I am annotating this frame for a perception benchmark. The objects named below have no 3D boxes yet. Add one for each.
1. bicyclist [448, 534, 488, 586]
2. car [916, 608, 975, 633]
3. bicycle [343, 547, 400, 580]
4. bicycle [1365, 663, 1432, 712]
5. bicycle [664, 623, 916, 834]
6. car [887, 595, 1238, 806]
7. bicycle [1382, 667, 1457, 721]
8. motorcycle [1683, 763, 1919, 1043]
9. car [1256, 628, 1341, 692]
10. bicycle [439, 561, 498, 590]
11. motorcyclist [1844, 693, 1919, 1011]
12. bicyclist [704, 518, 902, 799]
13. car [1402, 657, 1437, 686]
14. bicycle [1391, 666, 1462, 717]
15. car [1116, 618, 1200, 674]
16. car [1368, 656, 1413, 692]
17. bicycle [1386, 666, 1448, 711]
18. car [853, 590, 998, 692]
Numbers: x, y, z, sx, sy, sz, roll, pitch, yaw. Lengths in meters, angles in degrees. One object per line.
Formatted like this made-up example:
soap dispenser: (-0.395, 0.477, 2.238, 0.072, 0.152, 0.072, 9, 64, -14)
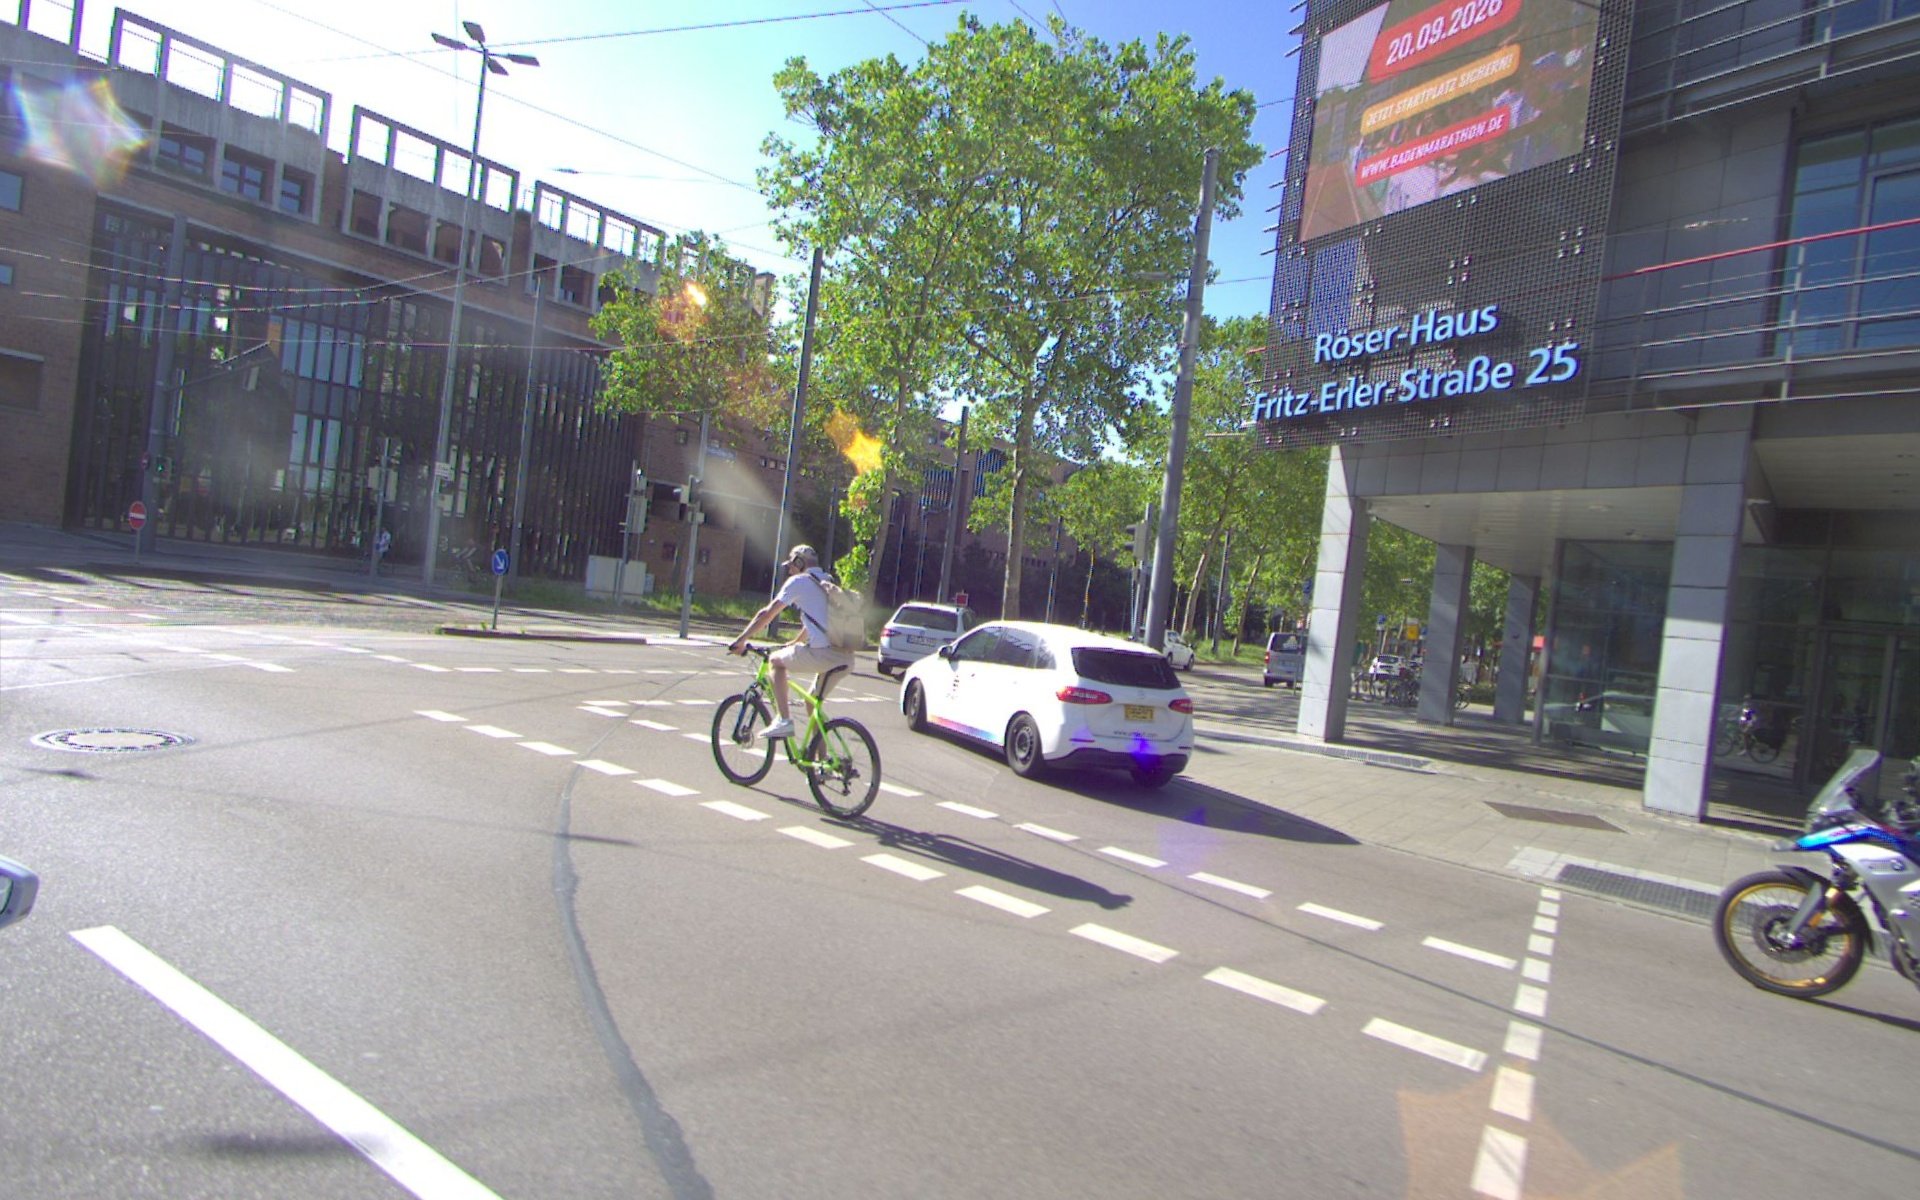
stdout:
bicyclist: (-16.774, -1.373, 34.333, 0.660, 1.650, 0.864, 7, 1, 29)
car: (-0.908, 1.355, 65.906, 1.711, 1.282, 3.987, 7, 0, 36)
bicycle: (-21.512, -1.310, 36.793, 0.661, 1.007, 1.673, 7, 0, 21)
bicycle: (13.355, 2.654, 30.640, 1.703, 1.235, 0.467, 7, 1, 35)
bicycle: (-1.245, 0.852, 7.149, 1.731, 1.124, 0.649, 8, 2, 37)
car: (0.921, 1.006, 11.471, 1.891, 1.602, 4.109, 9, 0, -27)
bicycle: (12.658, 2.575, 27.722, 1.703, 1.235, 0.467, 7, 1, 35)
motorcycle: (5.325, 1.689, 5.260, 2.356, 1.215, 0.828, 7, -1, 40)
car: (11.807, 2.114, 34.901, 1.790, 1.875, 4.382, 7, 0, 30)
bicycle: (-16.796, -0.830, 34.430, 0.662, 0.816, 1.671, 7, 0, 29)
motorcyclist: (5.366, 1.355, 5.270, 0.928, 1.579, 0.828, 7, -1, 40)
bicyclist: (-1.114, 0.382, 7.081, 1.029, 1.775, 0.649, 8, 2, 37)
car: (32.342, 5.081, 70.793, 1.879, 1.602, 3.999, 9, -1, 27)
bicycle: (13.419, 2.620, 28.966, 1.703, 1.235, 0.467, 7, 1, 35)
car: (7.494, 1.759, 37.734, 1.879, 1.602, 3.999, 9, -1, 27)
car: (23.943, 4.122, 55.860, 1.879, 1.602, 3.999, 9, -1, 27)
bicycle: (15.174, 2.925, 33.459, 1.703, 1.235, 0.467, 7, 1, 35)
car: (-0.556, 0.847, 20.171, 1.876, 1.559, 4.143, 8, -1, 10)
